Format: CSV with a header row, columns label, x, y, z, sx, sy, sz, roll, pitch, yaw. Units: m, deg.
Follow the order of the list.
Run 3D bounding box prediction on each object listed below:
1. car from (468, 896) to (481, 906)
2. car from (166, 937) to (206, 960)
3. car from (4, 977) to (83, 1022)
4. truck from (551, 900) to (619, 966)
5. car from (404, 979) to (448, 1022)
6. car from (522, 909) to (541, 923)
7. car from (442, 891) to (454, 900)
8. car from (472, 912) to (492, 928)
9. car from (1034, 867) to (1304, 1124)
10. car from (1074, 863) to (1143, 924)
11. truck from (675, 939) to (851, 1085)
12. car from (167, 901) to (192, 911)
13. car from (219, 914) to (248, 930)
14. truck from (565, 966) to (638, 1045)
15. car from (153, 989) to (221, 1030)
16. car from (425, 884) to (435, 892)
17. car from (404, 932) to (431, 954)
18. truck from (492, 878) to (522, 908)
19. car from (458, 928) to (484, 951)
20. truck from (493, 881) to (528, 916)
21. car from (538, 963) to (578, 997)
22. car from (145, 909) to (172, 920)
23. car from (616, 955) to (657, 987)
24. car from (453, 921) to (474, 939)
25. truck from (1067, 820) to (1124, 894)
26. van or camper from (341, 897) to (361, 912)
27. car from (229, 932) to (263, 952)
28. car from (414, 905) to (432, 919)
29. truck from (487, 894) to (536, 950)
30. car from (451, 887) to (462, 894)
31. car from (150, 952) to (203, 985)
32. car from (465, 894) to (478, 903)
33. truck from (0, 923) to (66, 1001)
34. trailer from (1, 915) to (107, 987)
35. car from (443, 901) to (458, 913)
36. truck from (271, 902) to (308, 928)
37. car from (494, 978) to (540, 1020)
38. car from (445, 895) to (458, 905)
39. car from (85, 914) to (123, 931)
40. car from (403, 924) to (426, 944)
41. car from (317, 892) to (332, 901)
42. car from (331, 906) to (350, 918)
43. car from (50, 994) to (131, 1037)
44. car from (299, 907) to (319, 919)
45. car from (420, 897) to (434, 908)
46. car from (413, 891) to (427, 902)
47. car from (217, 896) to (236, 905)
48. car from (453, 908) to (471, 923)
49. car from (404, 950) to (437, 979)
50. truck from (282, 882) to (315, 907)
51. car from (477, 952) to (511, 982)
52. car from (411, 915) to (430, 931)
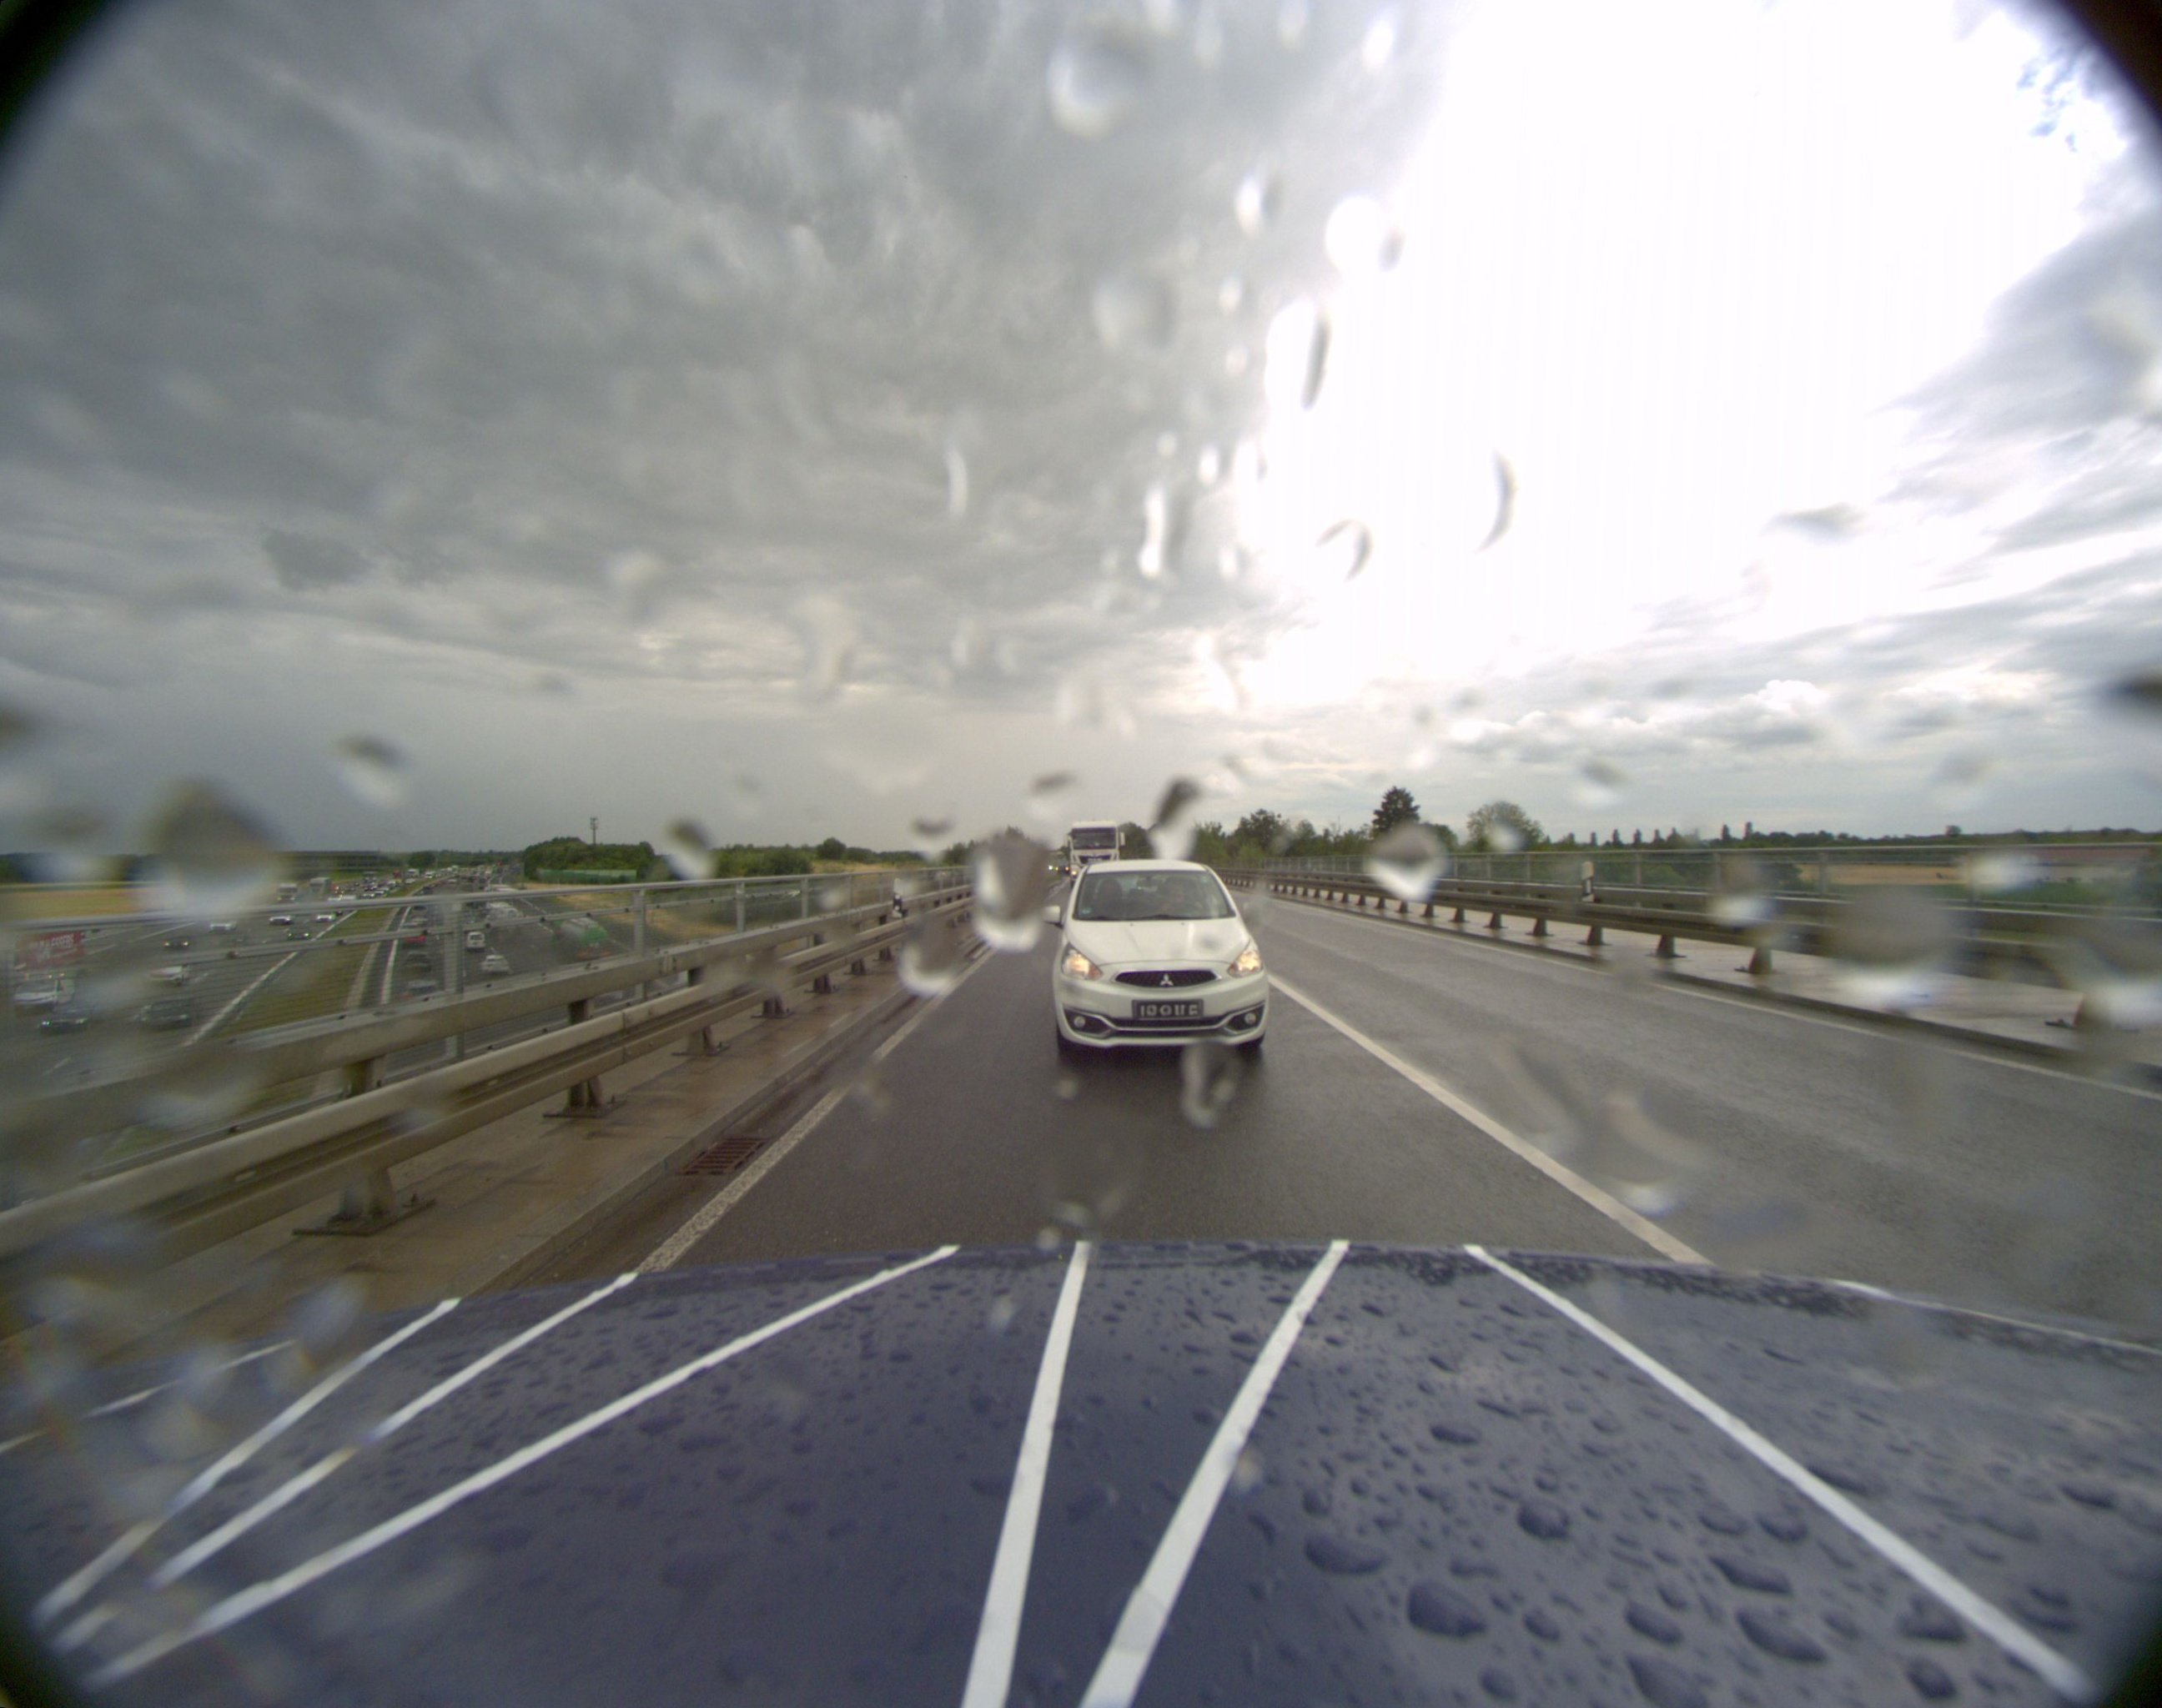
label,x,y,z,sx,sy,sz,roll,pitch,yaw
car,-118.553,9.210,148.482,1.860,1.764,4.712,-3,1,-40
car,-89.493,9.419,76.036,1.818,1.659,4.711,-3,1,-41
car,-63.124,8.785,46.319,1.818,1.873,4.711,-3,1,-41
truck,-48.406,7.378,73.771,3.302,5.135,15.588,-3,1,-41
car,-39.284,8.730,45.631,1.860,1.659,4.712,-3,1,-40
car,-83.217,9.310,115.043,1.860,1.764,4.712,-3,1,-40
car,-140.615,9.253,168.784,1.860,1.764,4.712,-3,1,-40
car,-81.159,8.928,102.971,1.860,1.764,4.712,-3,1,-40
car,0.583,0.942,6.921,1.675,1.476,4.129,-2,1,0
car,0.698,1.018,21.008,1.675,1.366,4.129,-2,1,0
truck,-16.410,7.195,37.889,3.611,4.511,15.588,-3,1,-39
car,-146.916,8.472,123.859,1.818,1.428,4.711,-3,1,-41
car,-107.995,8.682,96.829,1.818,1.659,4.711,-3,1,-41
truck,-27.724,8.489,43.719,2.216,2.948,9.283,-3,1,-40
car,-51.404,8.884,43.757,1.818,1.428,4.711,-3,1,-41
car,-167.491,8.763,195.565,1.860,1.764,4.712,-3,1,-40
car,-66.760,8.967,76.508,1.860,1.659,4.712,-3,1,-40
truck,-112.209,7.446,148.494,3.500,5.321,15.588,-3,1,-41
car,-60.355,8.447,75.158,1.860,1.764,4.712,-3,1,-40
truck,-97.373,7.495,129.597,3.500,5.321,15.588,-3,1,-41
car,-38.134,9.129,55.335,1.860,1.659,4.712,-3,1,-40
car,-139.390,9.115,114.886,1.818,1.428,4.711,-3,1,-41
car,-33.735,8.816,57.609,1.860,1.659,4.712,-3,1,-40
car,-75.855,9.347,93.247,1.860,1.764,4.712,-3,1,-40
truck,0.674,-0.051,41.225,2.631,3.537,8.474,-2,3,0
van or camper,-135.257,9.318,140.835,2.063,2.436,7.311,-3,1,-40
car,-90.498,9.480,82.405,1.818,1.659,4.711,-3,1,-41
car,-98.678,8.609,113.969,1.860,1.764,4.712,-3,1,-40
truck,-66.364,7.683,88.323,3.302,5.411,15.588,-3,1,-41
car,-157.326,9.183,191.414,1.860,1.764,4.712,-3,1,-40
car,-68.036,8.565,57.219,1.818,1.836,4.711,-3,1,-41
car,-129.072,9.417,160.909,1.860,1.764,4.712,-3,1,-40
truck,-74.483,7.415,52.704,2.691,4.599,9.727,-3,1,-41
trailer,-80.892,7.488,60.105,2.691,4.602,9.882,-3,1,-41
car,-108.889,9.085,131.208,1.860,1.764,4.712,-3,1,-40
truck,-113.585,8.729,109.148,2.601,3.161,8.373,-3,1,-40
car,-34.038,8.665,45.797,1.860,1.659,4.712,-3,1,-40
car,-126.843,9.166,153.047,1.860,1.764,4.712,-3,1,-40
car,-121.200,8.469,94.322,1.860,1.659,4.712,-3,1,-40
car,-76.344,9.148,87.091,1.860,1.764,4.712,-3,1,-40
car,-166.516,9.304,167.282,1.860,1.659,4.712,-3,1,-40
car,-121.806,9.461,125.026,1.860,1.659,4.712,-3,1,-40
car,-54.926,8.916,42.241,1.818,1.428,4.711,-3,1,-41
car,-126.761,9.650,124.832,1.818,1.659,4.711,-3,1,-41
car,-124.420,9.240,144.534,1.860,1.764,4.712,-3,1,-40
car,-144.342,9.231,165.948,2.003,2.002,3.989,-6,3,-43
car,-160.262,8.709,142.506,1.818,1.428,4.711,-3,1,-41
car,-87.136,8.655,106.983,1.860,1.764,4.712,-3,1,-40
car,-53.411,8.903,61.474,1.860,1.659,4.712,-3,1,-40
truck,-169.440,8.621,164.673,2.799,4.871,12.723,-3,1,-37
car,-46.676,8.946,60.376,1.860,1.659,4.712,-3,1,-40
car,-89.651,9.361,103.142,1.860,1.764,4.712,-3,1,-40
